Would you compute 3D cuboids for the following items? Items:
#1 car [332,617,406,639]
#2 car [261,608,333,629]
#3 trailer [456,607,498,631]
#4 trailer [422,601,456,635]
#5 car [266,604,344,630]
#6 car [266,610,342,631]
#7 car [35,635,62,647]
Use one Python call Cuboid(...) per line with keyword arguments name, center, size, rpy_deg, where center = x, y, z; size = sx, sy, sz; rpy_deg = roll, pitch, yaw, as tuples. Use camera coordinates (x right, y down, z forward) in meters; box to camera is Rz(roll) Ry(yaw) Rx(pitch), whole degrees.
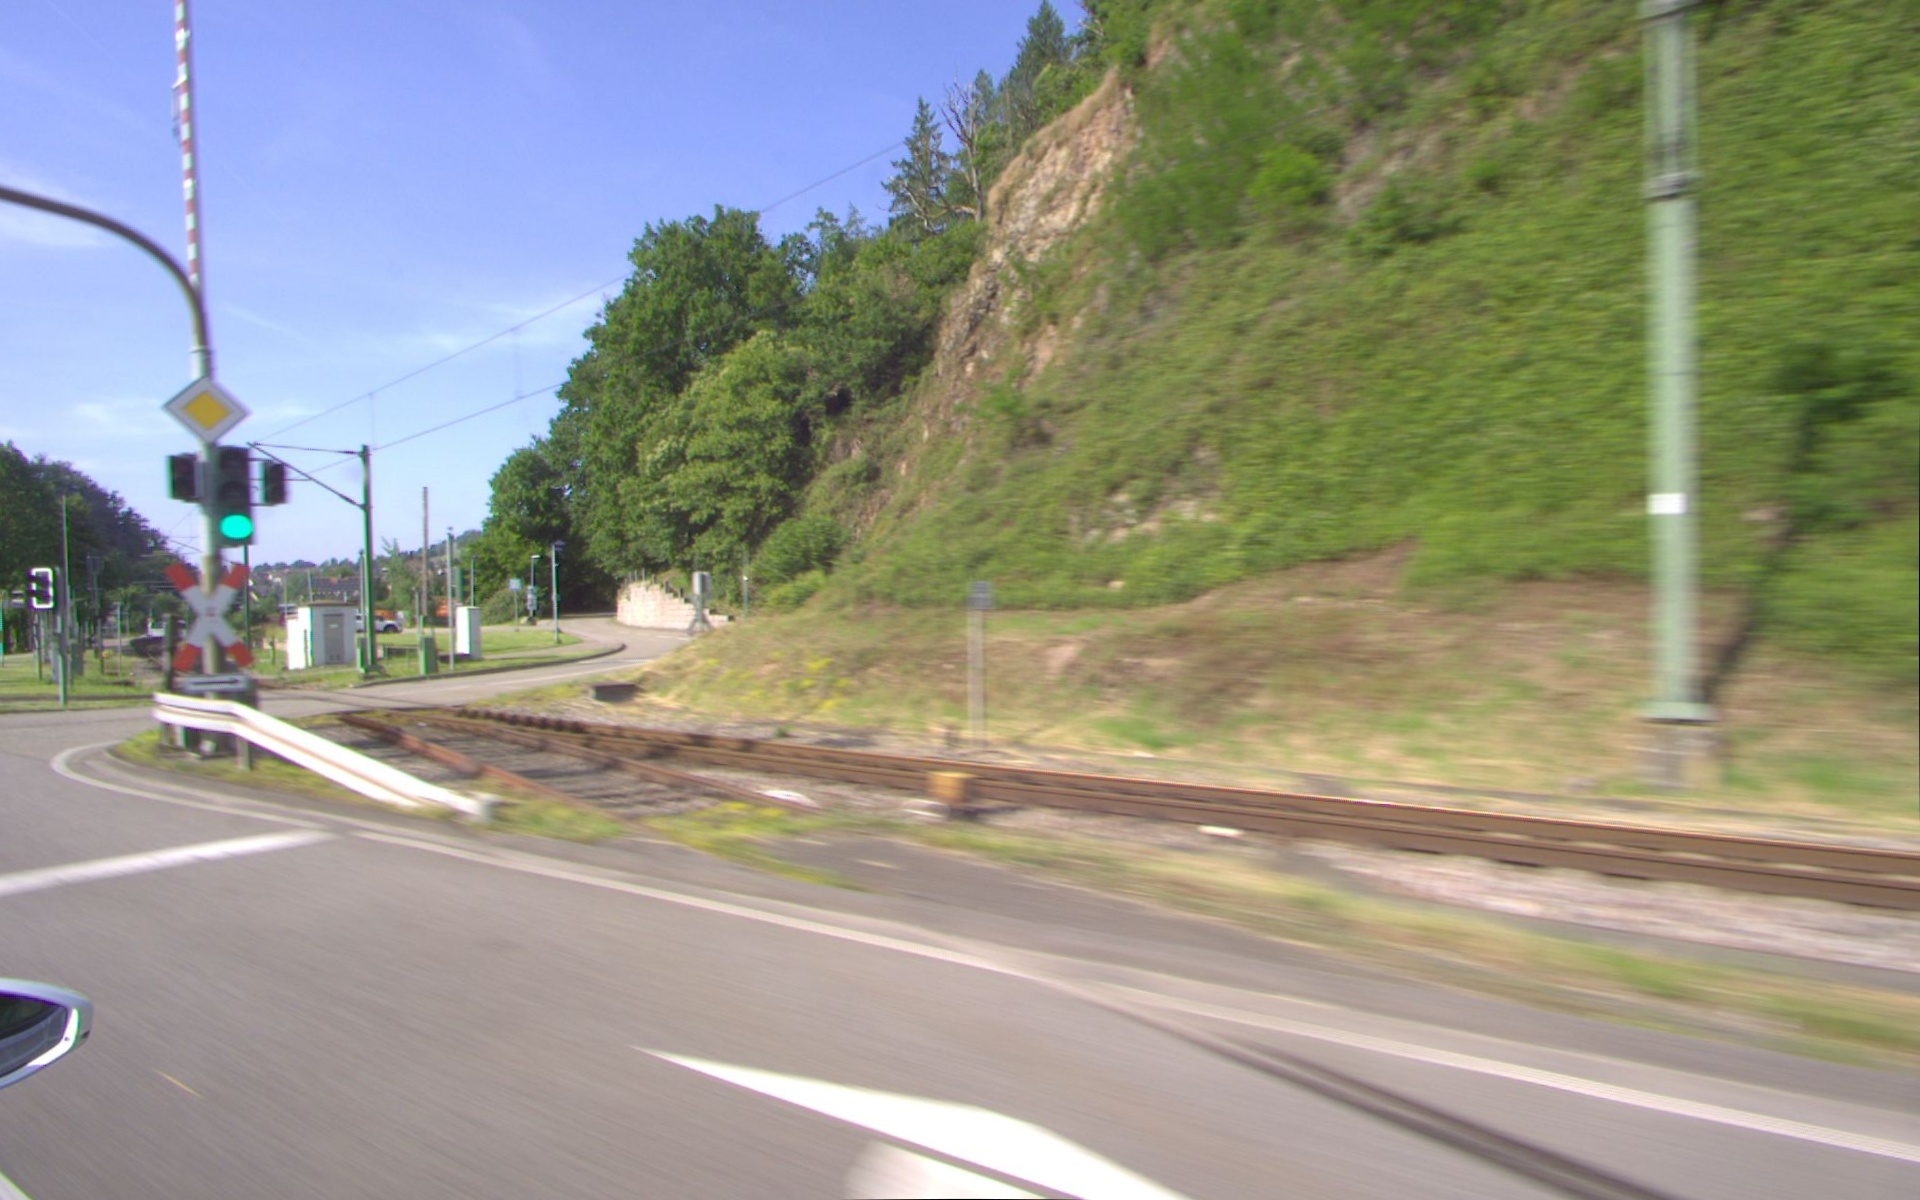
Cuboid(name="car", center=(-39.441, 1.837, 66.887), size=(4.064, 1.416, 1.794), rpy_deg=(0, -1, -40))
Cuboid(name="car", center=(-55.950, 1.551, 84.537), size=(4.912, 1.712, 1.920), rpy_deg=(0, -1, -40))
Cuboid(name="trailer", center=(-48.170, 1.886, 99.923), size=(3.642, 2.218, 1.814), rpy_deg=(-1, 0, -21))
Cuboid(name="trailer", center=(-63.198, 2.191, 121.698), size=(2.570, 3.944, 7.713), rpy_deg=(-2, 0, -20))
Cuboid(name="car", center=(-51.398, 1.333, 78.657), size=(4.912, 1.969, 2.123), rpy_deg=(0, -1, -40))
Cuboid(name="car", center=(-52.793, 1.624, 80.596), size=(4.912, 1.608, 2.123), rpy_deg=(0, -1, -40))
Cuboid(name="car", center=(-116.116, 5.174, 127.635), size=(1.788, 1.427, 3.753), rpy_deg=(-2, 0, -31))
